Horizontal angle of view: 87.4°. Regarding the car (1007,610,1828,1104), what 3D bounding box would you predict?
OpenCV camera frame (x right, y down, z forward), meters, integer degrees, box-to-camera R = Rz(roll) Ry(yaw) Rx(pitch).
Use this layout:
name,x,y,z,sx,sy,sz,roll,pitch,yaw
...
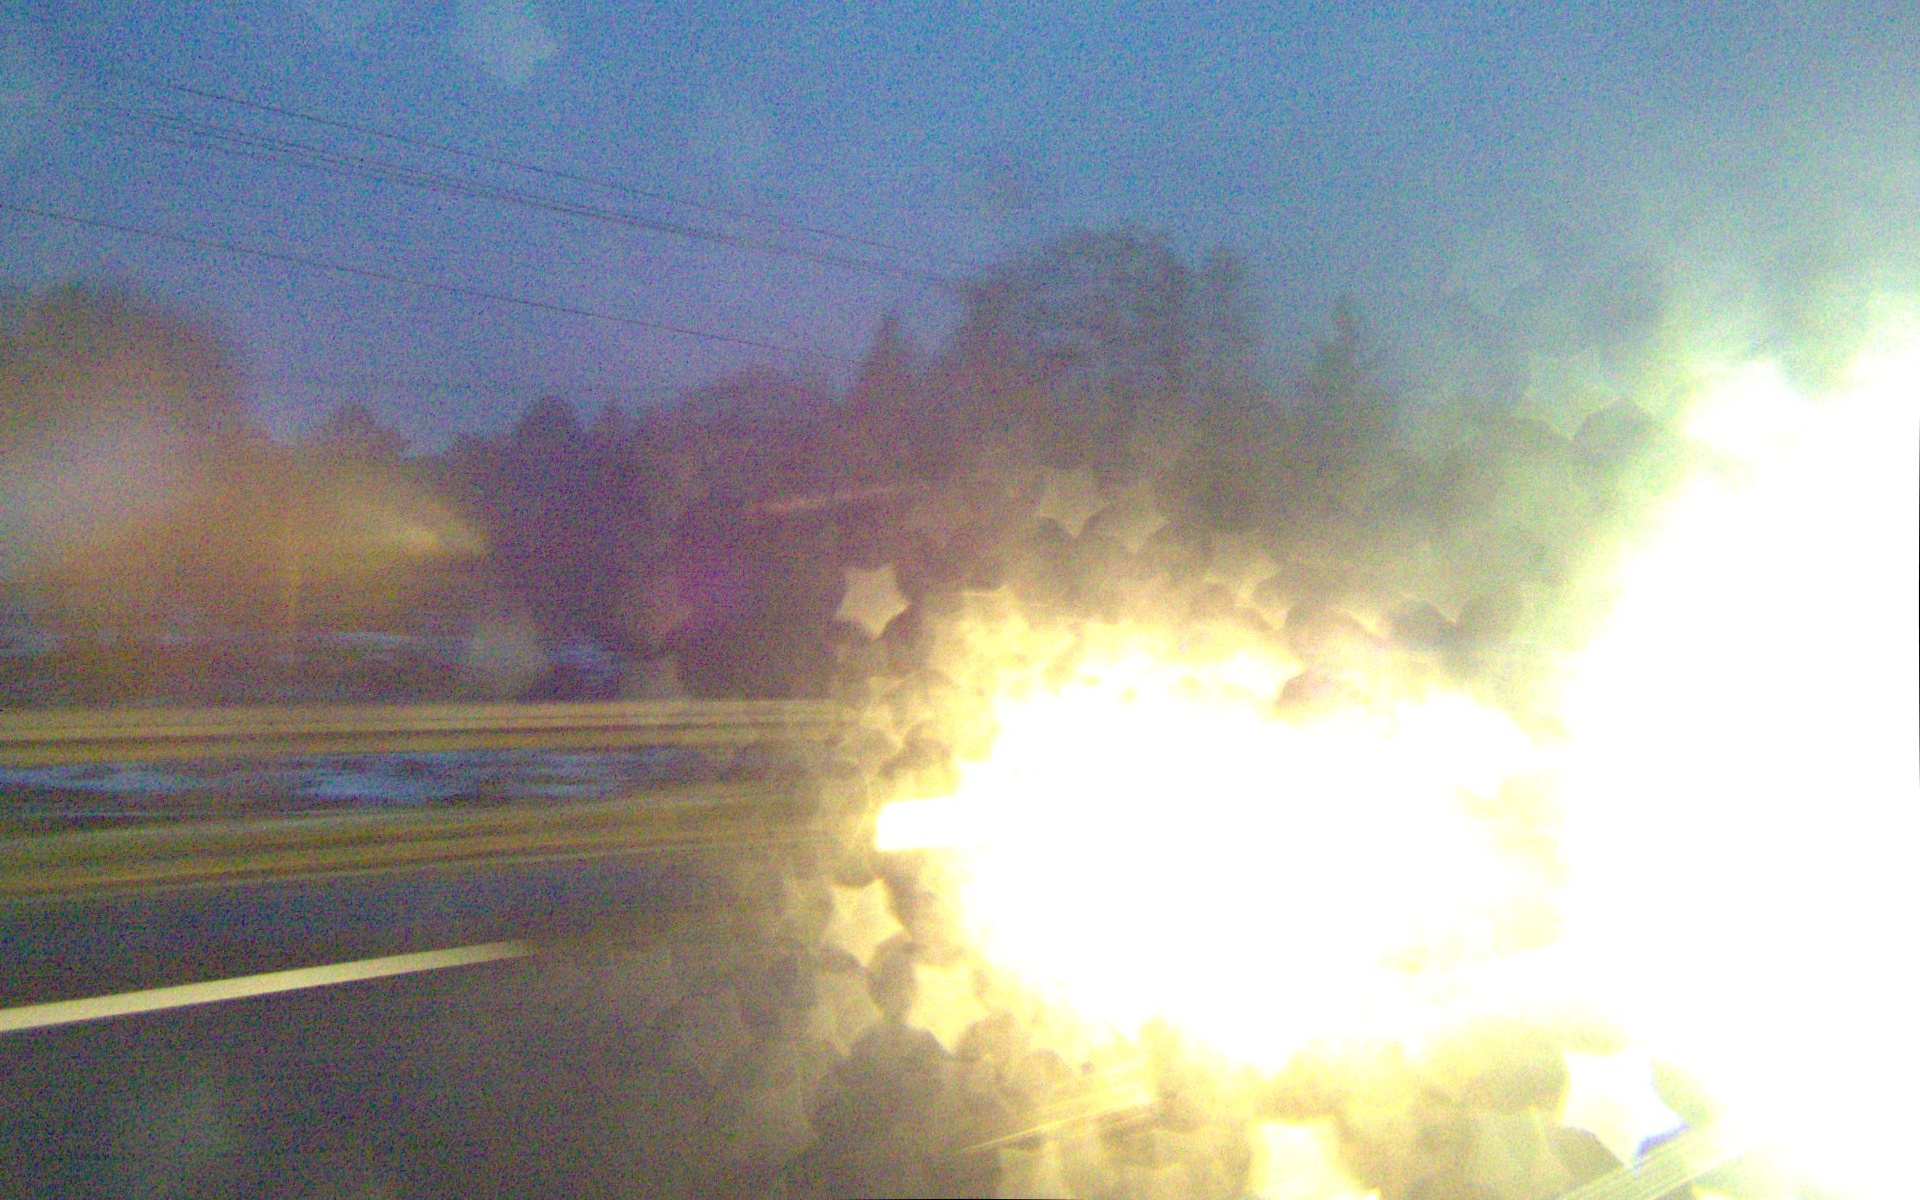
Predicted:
name,x,y,z,sx,sy,sz,roll,pitch,yaw
car,2.337,0.822,4.828,3.996,1.486,1.691,1,-2,-32
